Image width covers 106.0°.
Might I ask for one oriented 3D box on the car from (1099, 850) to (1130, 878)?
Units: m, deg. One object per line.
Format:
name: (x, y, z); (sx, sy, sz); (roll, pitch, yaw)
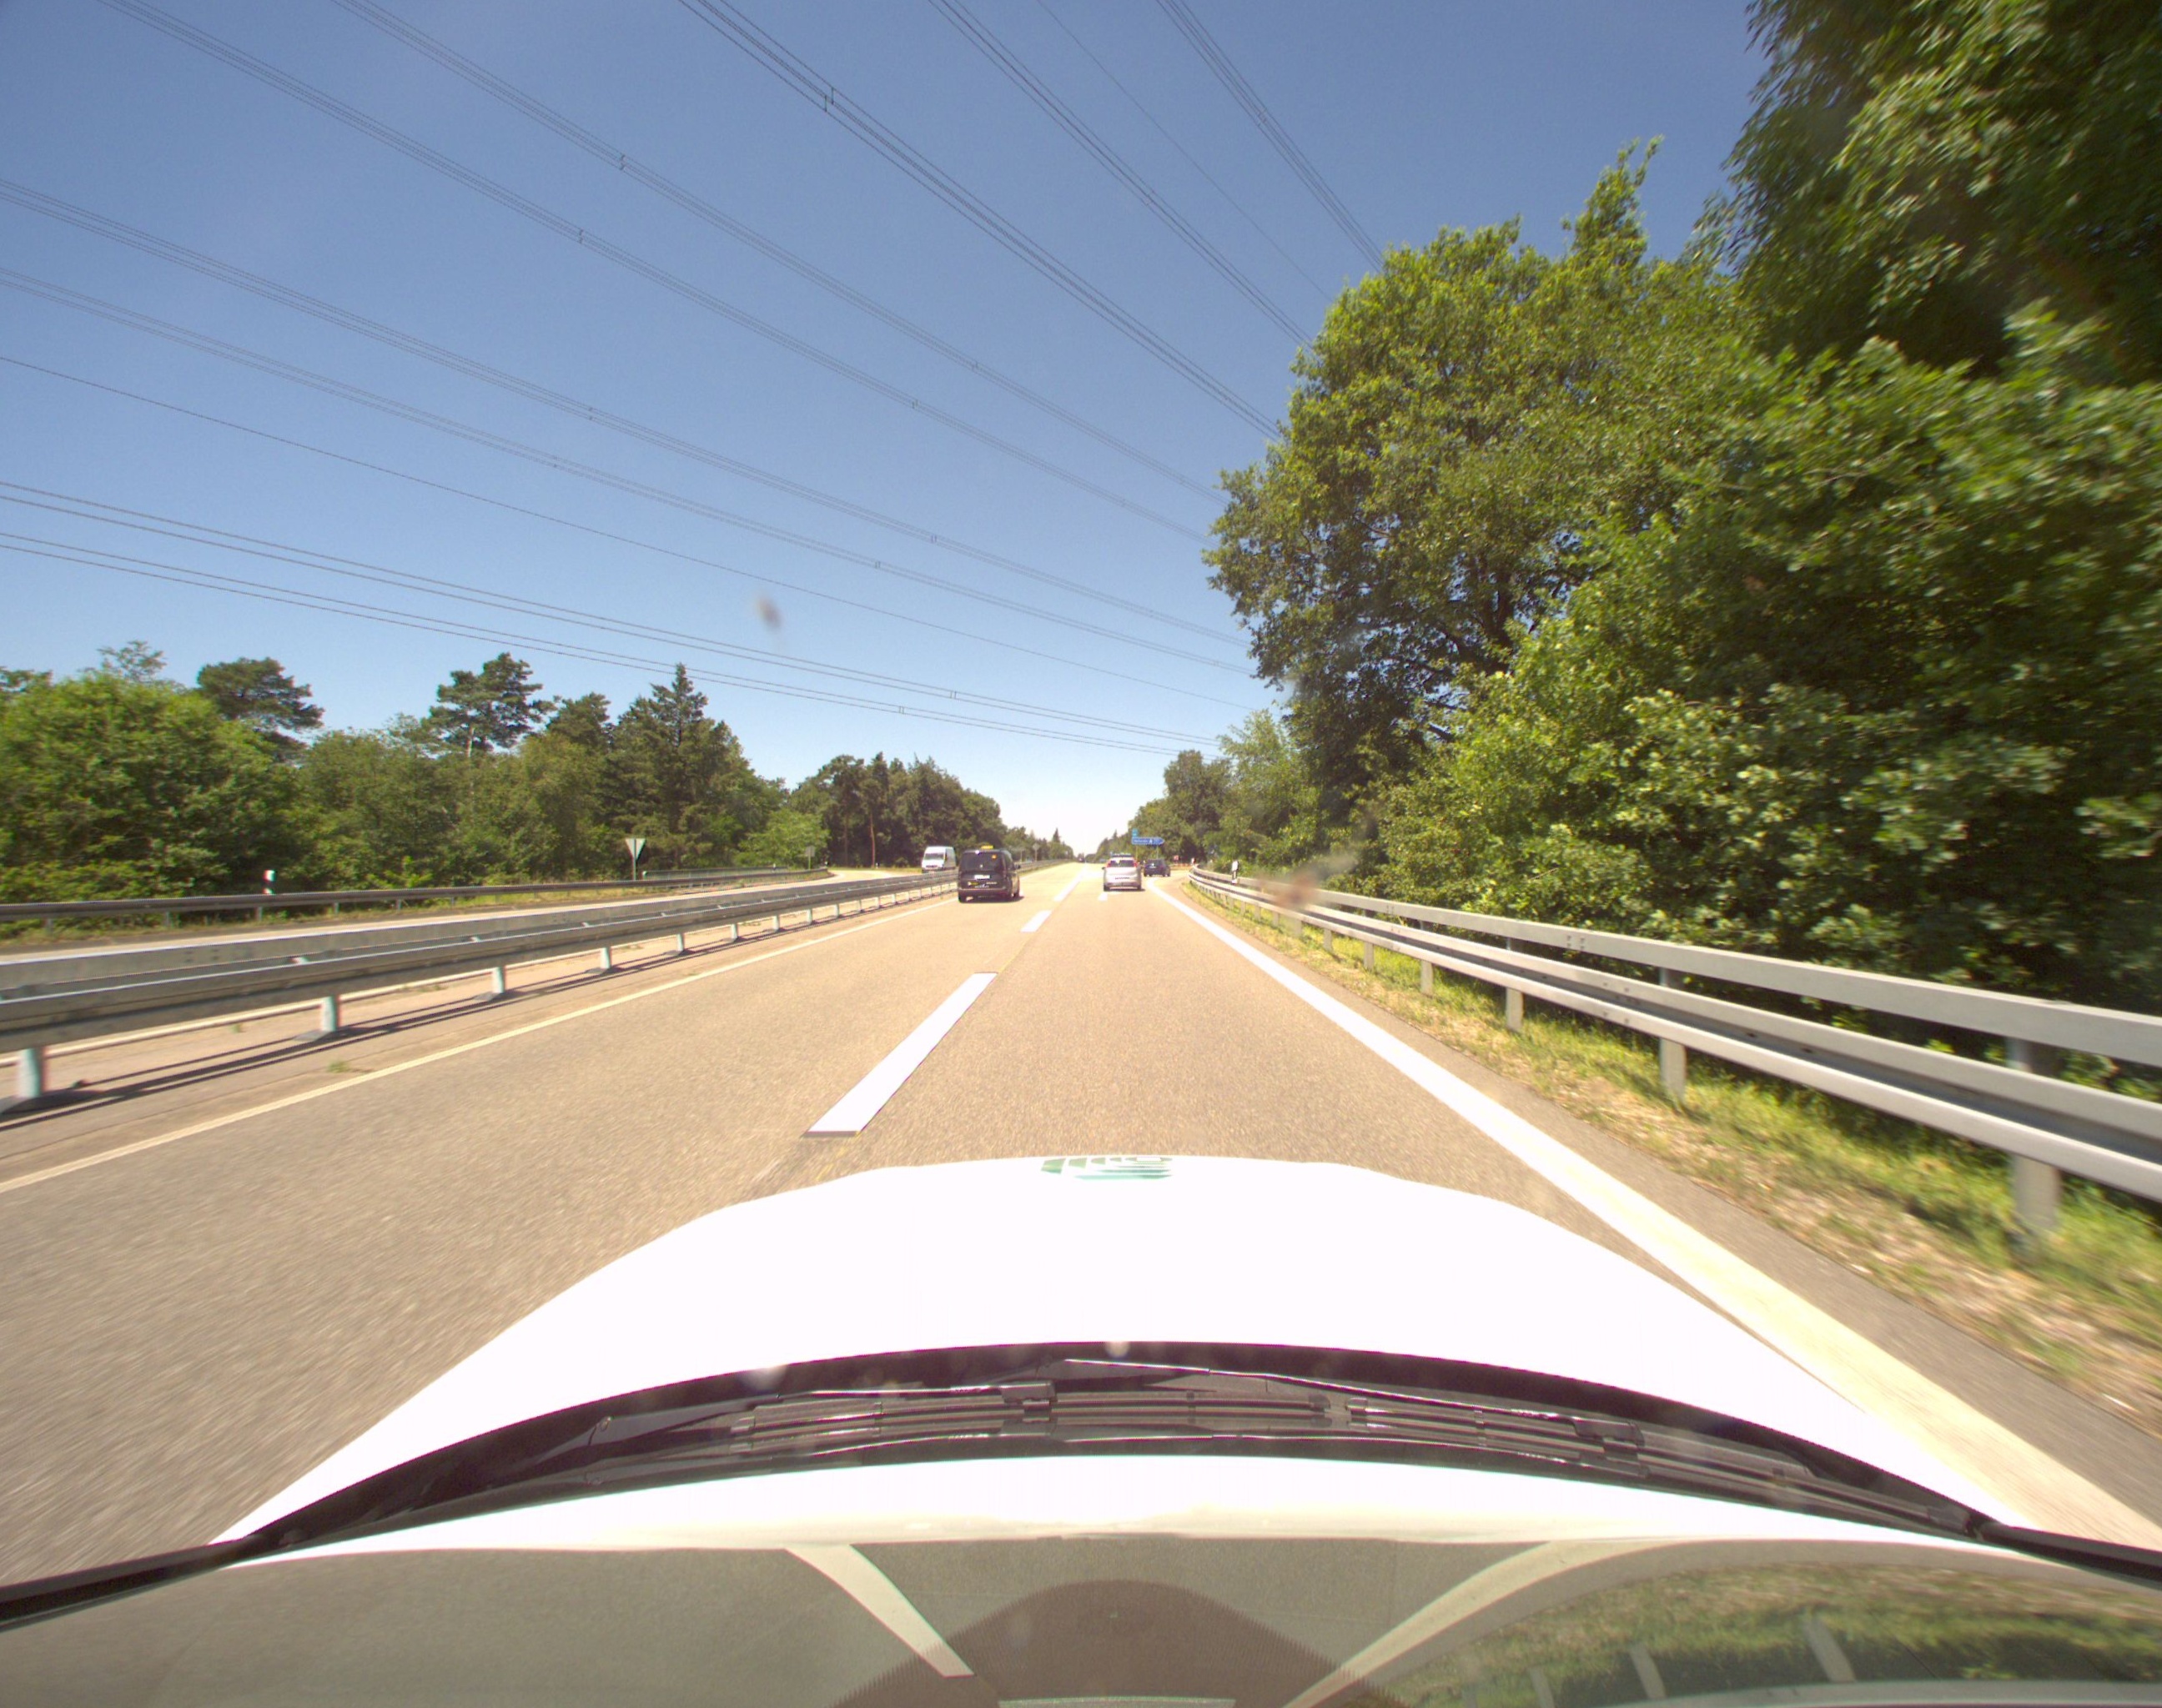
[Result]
car: (2.171, 0.635, 52.028); (1.631, 1.654, 3.581); (1, 0, 7)

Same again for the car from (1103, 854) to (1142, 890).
car: (1.836, 0.764, 36.479); (1.634, 1.468, 3.421); (1, 0, 2)

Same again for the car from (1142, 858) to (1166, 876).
car: (5.992, 1.022, 66.313); (1.630, 1.342, 3.584); (1, 0, 10)

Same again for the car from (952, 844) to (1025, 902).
car: (-3.249, 0.639, 29.686); (1.847, 1.887, 5.575); (-1, 0, 2)

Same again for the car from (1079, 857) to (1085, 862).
car: (0.252, 1.560, 224.950); (1.706, 1.471, 3.575); (1, 0, 1)

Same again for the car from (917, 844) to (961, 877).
car: (-12.593, 0.560, 72.632); (2.516, 2.618, 7.185); (-2, 0, 0)
